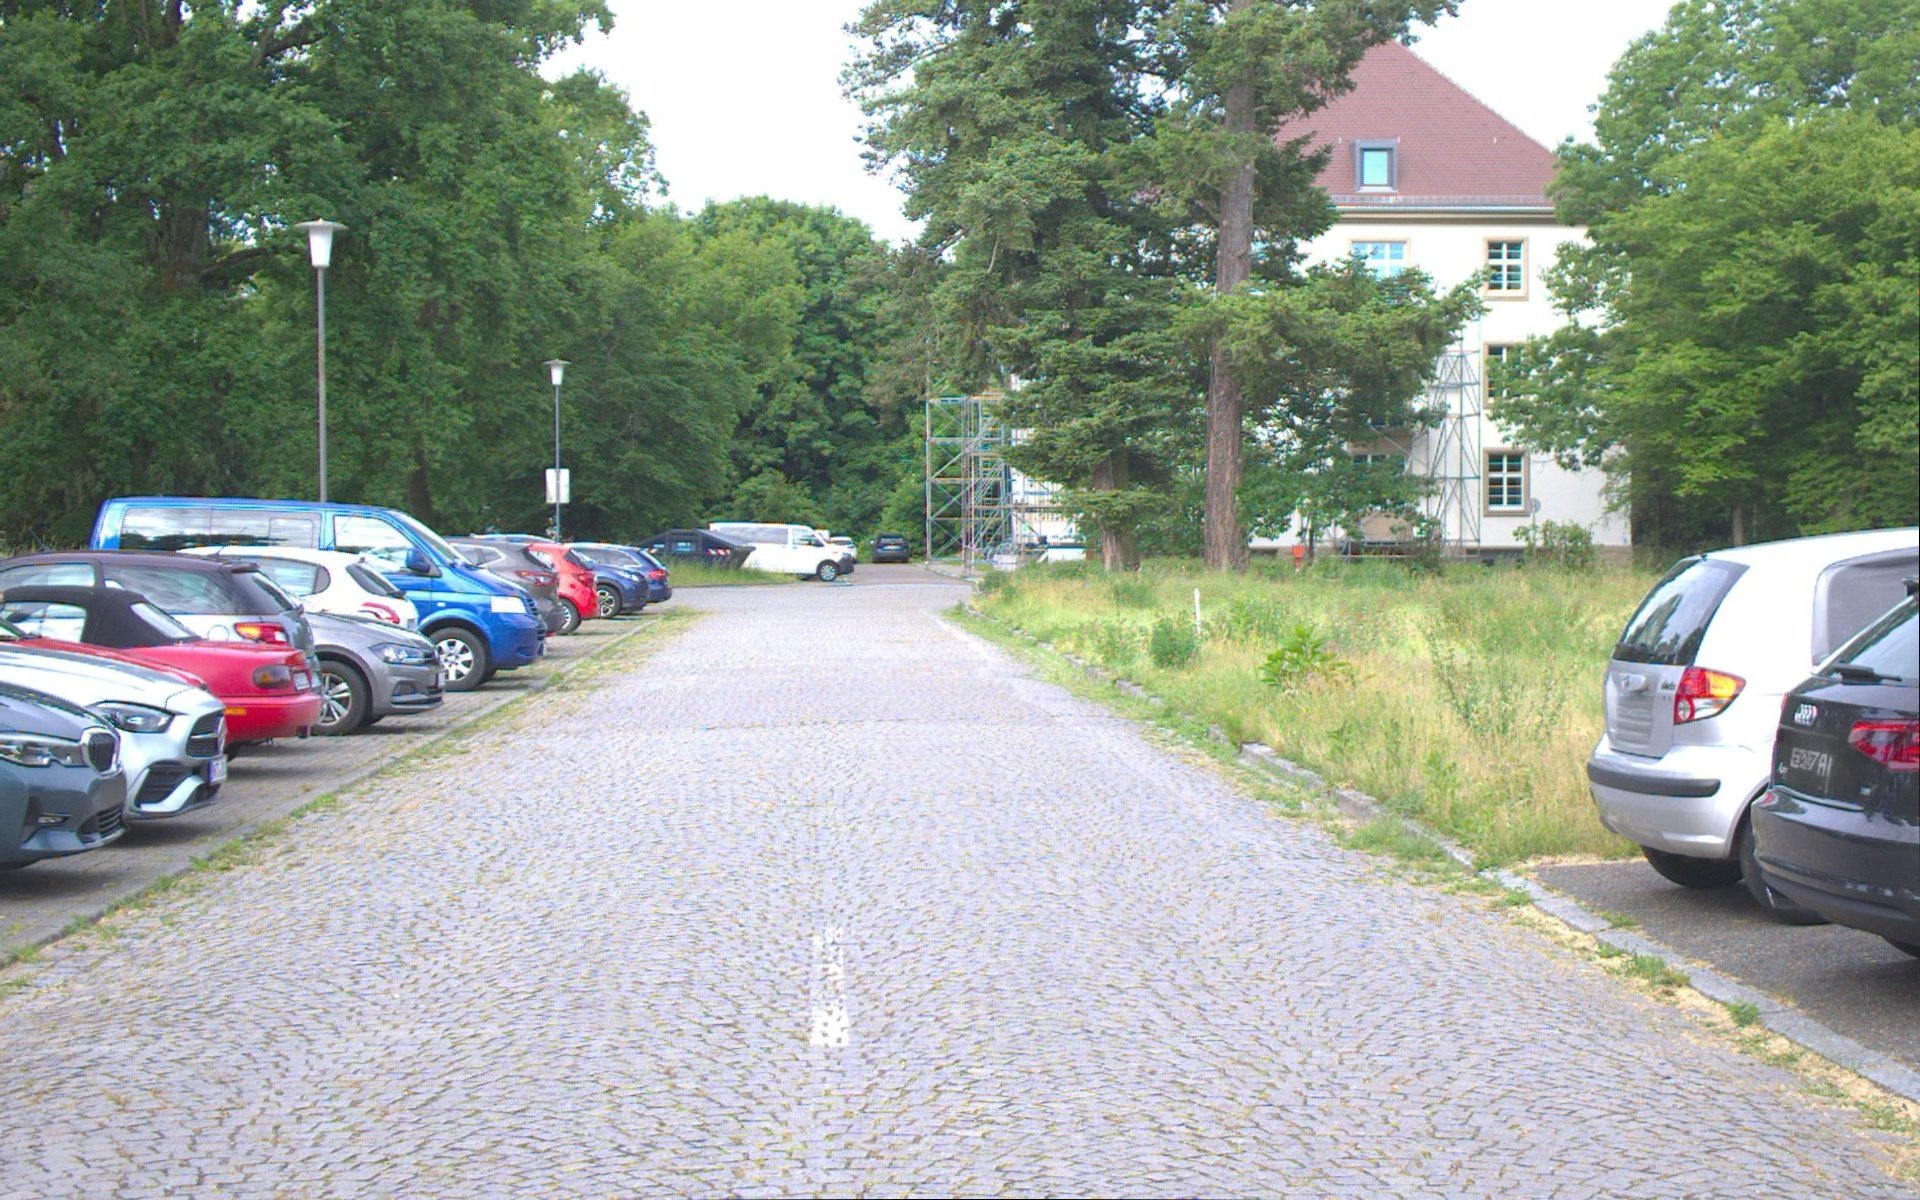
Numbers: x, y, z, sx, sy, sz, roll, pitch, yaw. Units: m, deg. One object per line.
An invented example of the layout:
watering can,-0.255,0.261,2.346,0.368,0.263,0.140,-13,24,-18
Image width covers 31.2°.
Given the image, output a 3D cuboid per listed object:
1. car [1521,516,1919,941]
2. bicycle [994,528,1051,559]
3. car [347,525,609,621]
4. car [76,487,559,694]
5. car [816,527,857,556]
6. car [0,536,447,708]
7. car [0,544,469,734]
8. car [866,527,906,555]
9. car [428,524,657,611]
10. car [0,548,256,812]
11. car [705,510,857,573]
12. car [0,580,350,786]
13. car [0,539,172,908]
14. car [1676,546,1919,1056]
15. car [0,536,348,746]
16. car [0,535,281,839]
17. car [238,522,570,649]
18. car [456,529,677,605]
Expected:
car,4.531,0.400,13.944,4.073,1.510,1.805,-3,2,-4
bicycle,2.480,-2.261,137.019,2.240,1.250,0.778,0,1,0
car,-7.758,-0.450,55.619,4.054,1.520,1.905,0,1,-4
car,-6.718,-0.127,36.390,4.781,2.114,2.115,0,1,-3
car,-6.668,-3.164,185.512,2.118,1.516,4.001,0,1,-3
car,-6.800,0.177,31.095,4.067,1.492,1.846,0,1,-1
car,-6.229,0.295,28.126,4.166,1.486,1.865,0,1,-1
car,-4.004,-3.189,185.900,1.951,1.516,4.001,0,1,-4
car,-7.969,-0.631,65.890,4.227,1.571,1.887,1,1,-3
car,-6.406,0.444,20.307,4.165,1.471,1.865,0,1,-3
car,-6.252,-2.028,119.491,5.234,2.160,2.000,0,1,-4
car,-6.264,0.523,22.689,4.166,1.262,1.831,0,1,-1
car,-5.796,0.512,15.284,4.249,1.542,1.936,0,1,-6
car,4.637,0.495,11.238,4.073,1.448,1.886,-3,2,-4
car,-6.741,0.278,25.325,4.166,1.477,1.846,0,1,-1
car,-5.896,0.419,18.025,4.373,1.502,1.936,0,1,-4
car,-7.268,-0.212,45.259,4.165,1.616,1.987,0,1,-5
car,-8.051,-0.684,70.589,4.302,1.456,1.975,1,1,-1
